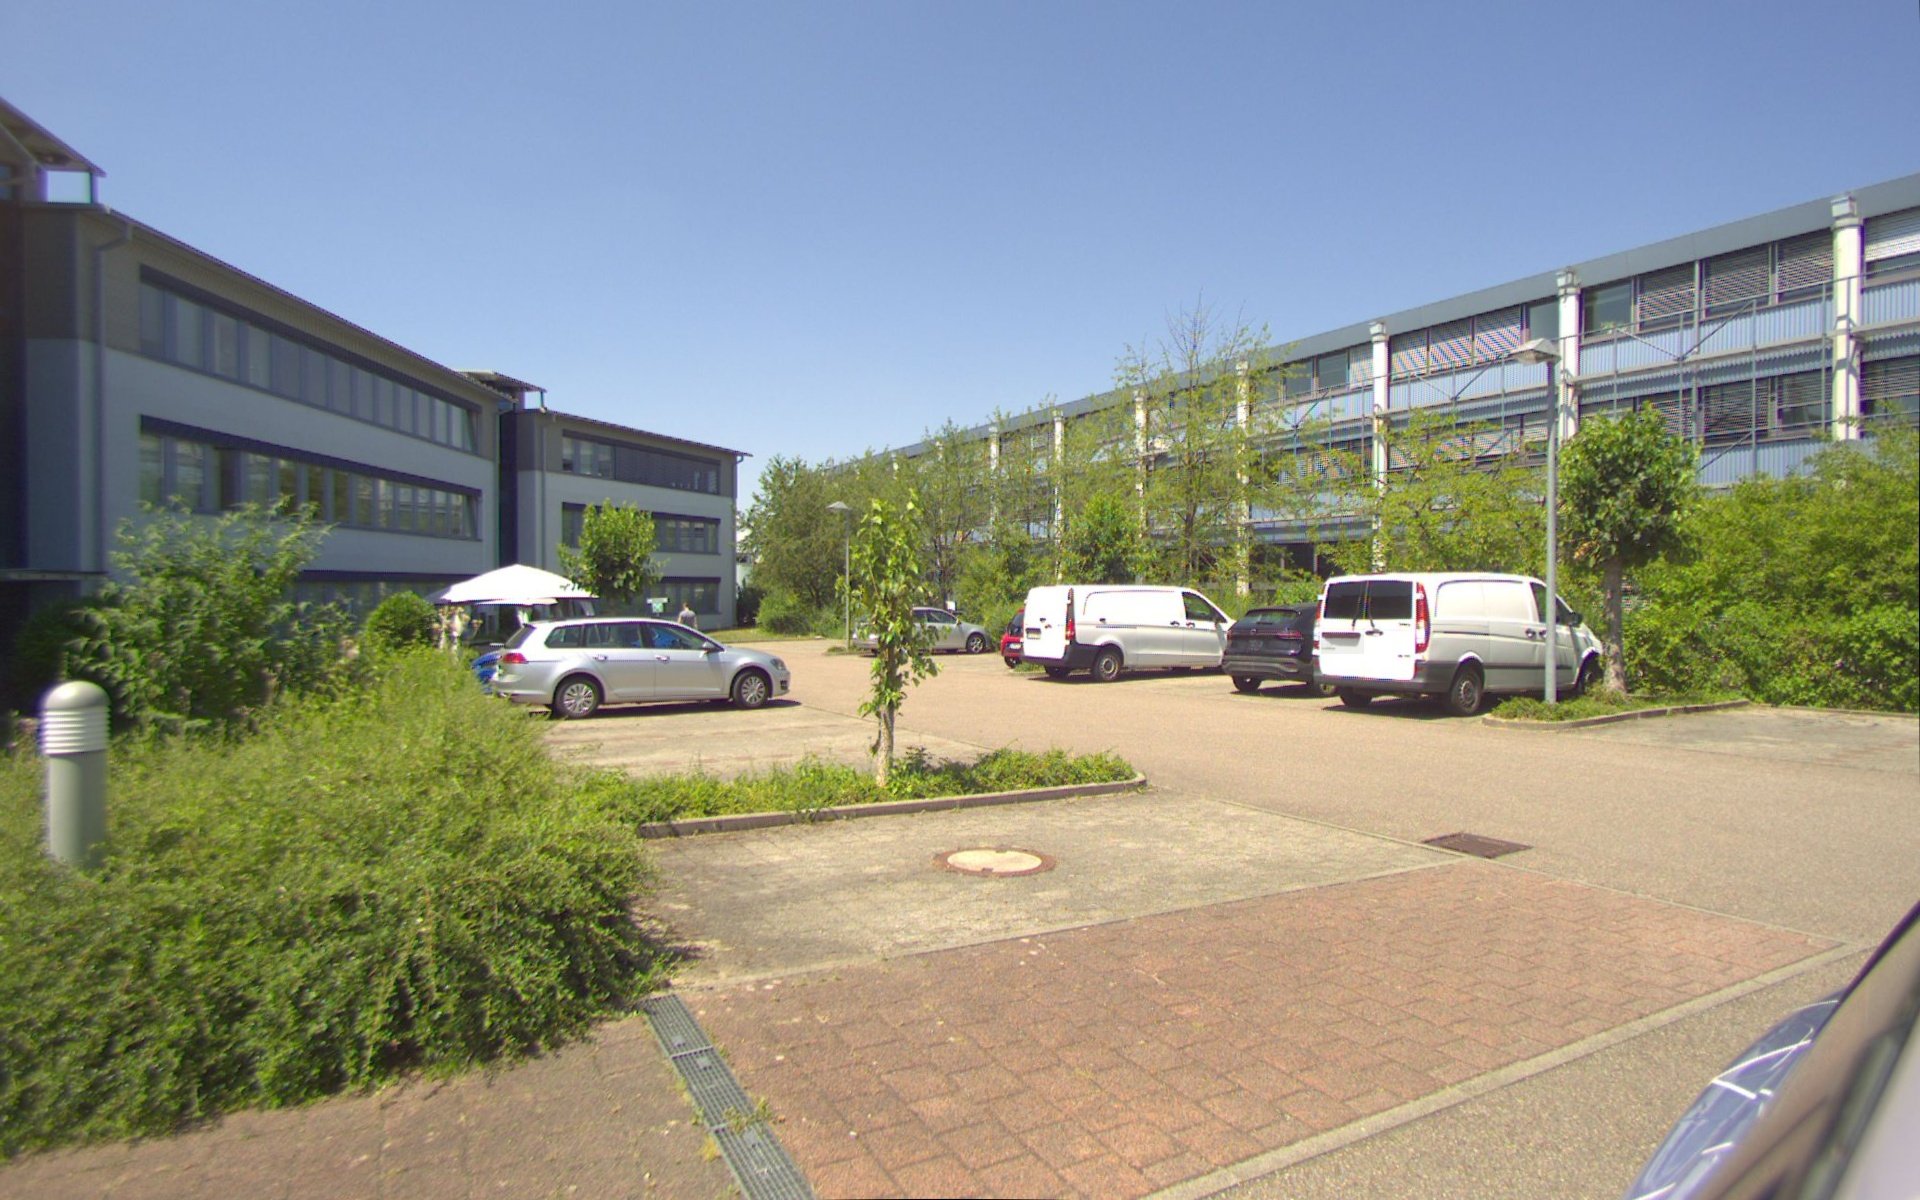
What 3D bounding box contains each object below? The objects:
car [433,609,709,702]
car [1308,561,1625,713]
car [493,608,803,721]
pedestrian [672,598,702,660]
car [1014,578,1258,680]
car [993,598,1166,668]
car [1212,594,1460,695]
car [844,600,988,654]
[{"bbox_3d":[-7.121,0.930,18.660,4.521,1.513,1.858,0,-1,-30],"label":"car"},{"bbox_3d":[7.335,0.445,14.548,4.584,1.884,1.870,-1,-1,-31],"label":"car"},{"bbox_3d":[-4.836,0.901,15.829,4.339,1.539,1.858,0,-1,-30],"label":"car"},{"bbox_3d":[-8.045,0.832,29.794,0.684,1.779,0.778,-2,0,-27],"label":"pedestrian"},{"bbox_3d":[3.674,0.534,20.881,4.835,1.879,1.859,-1,0,-28],"label":"car"},{"bbox_3d":[2.874,0.732,24.177,3.842,1.507,1.627,-1,0,-28],"label":"car"},{"bbox_3d":[6.430,0.683,17.206,4.114,1.503,1.741,-1,-1,-31],"label":"car"},{"bbox_3d":[-1.322,0.772,30.725,4.002,1.503,1.742,-1,0,-27],"label":"car"}]
